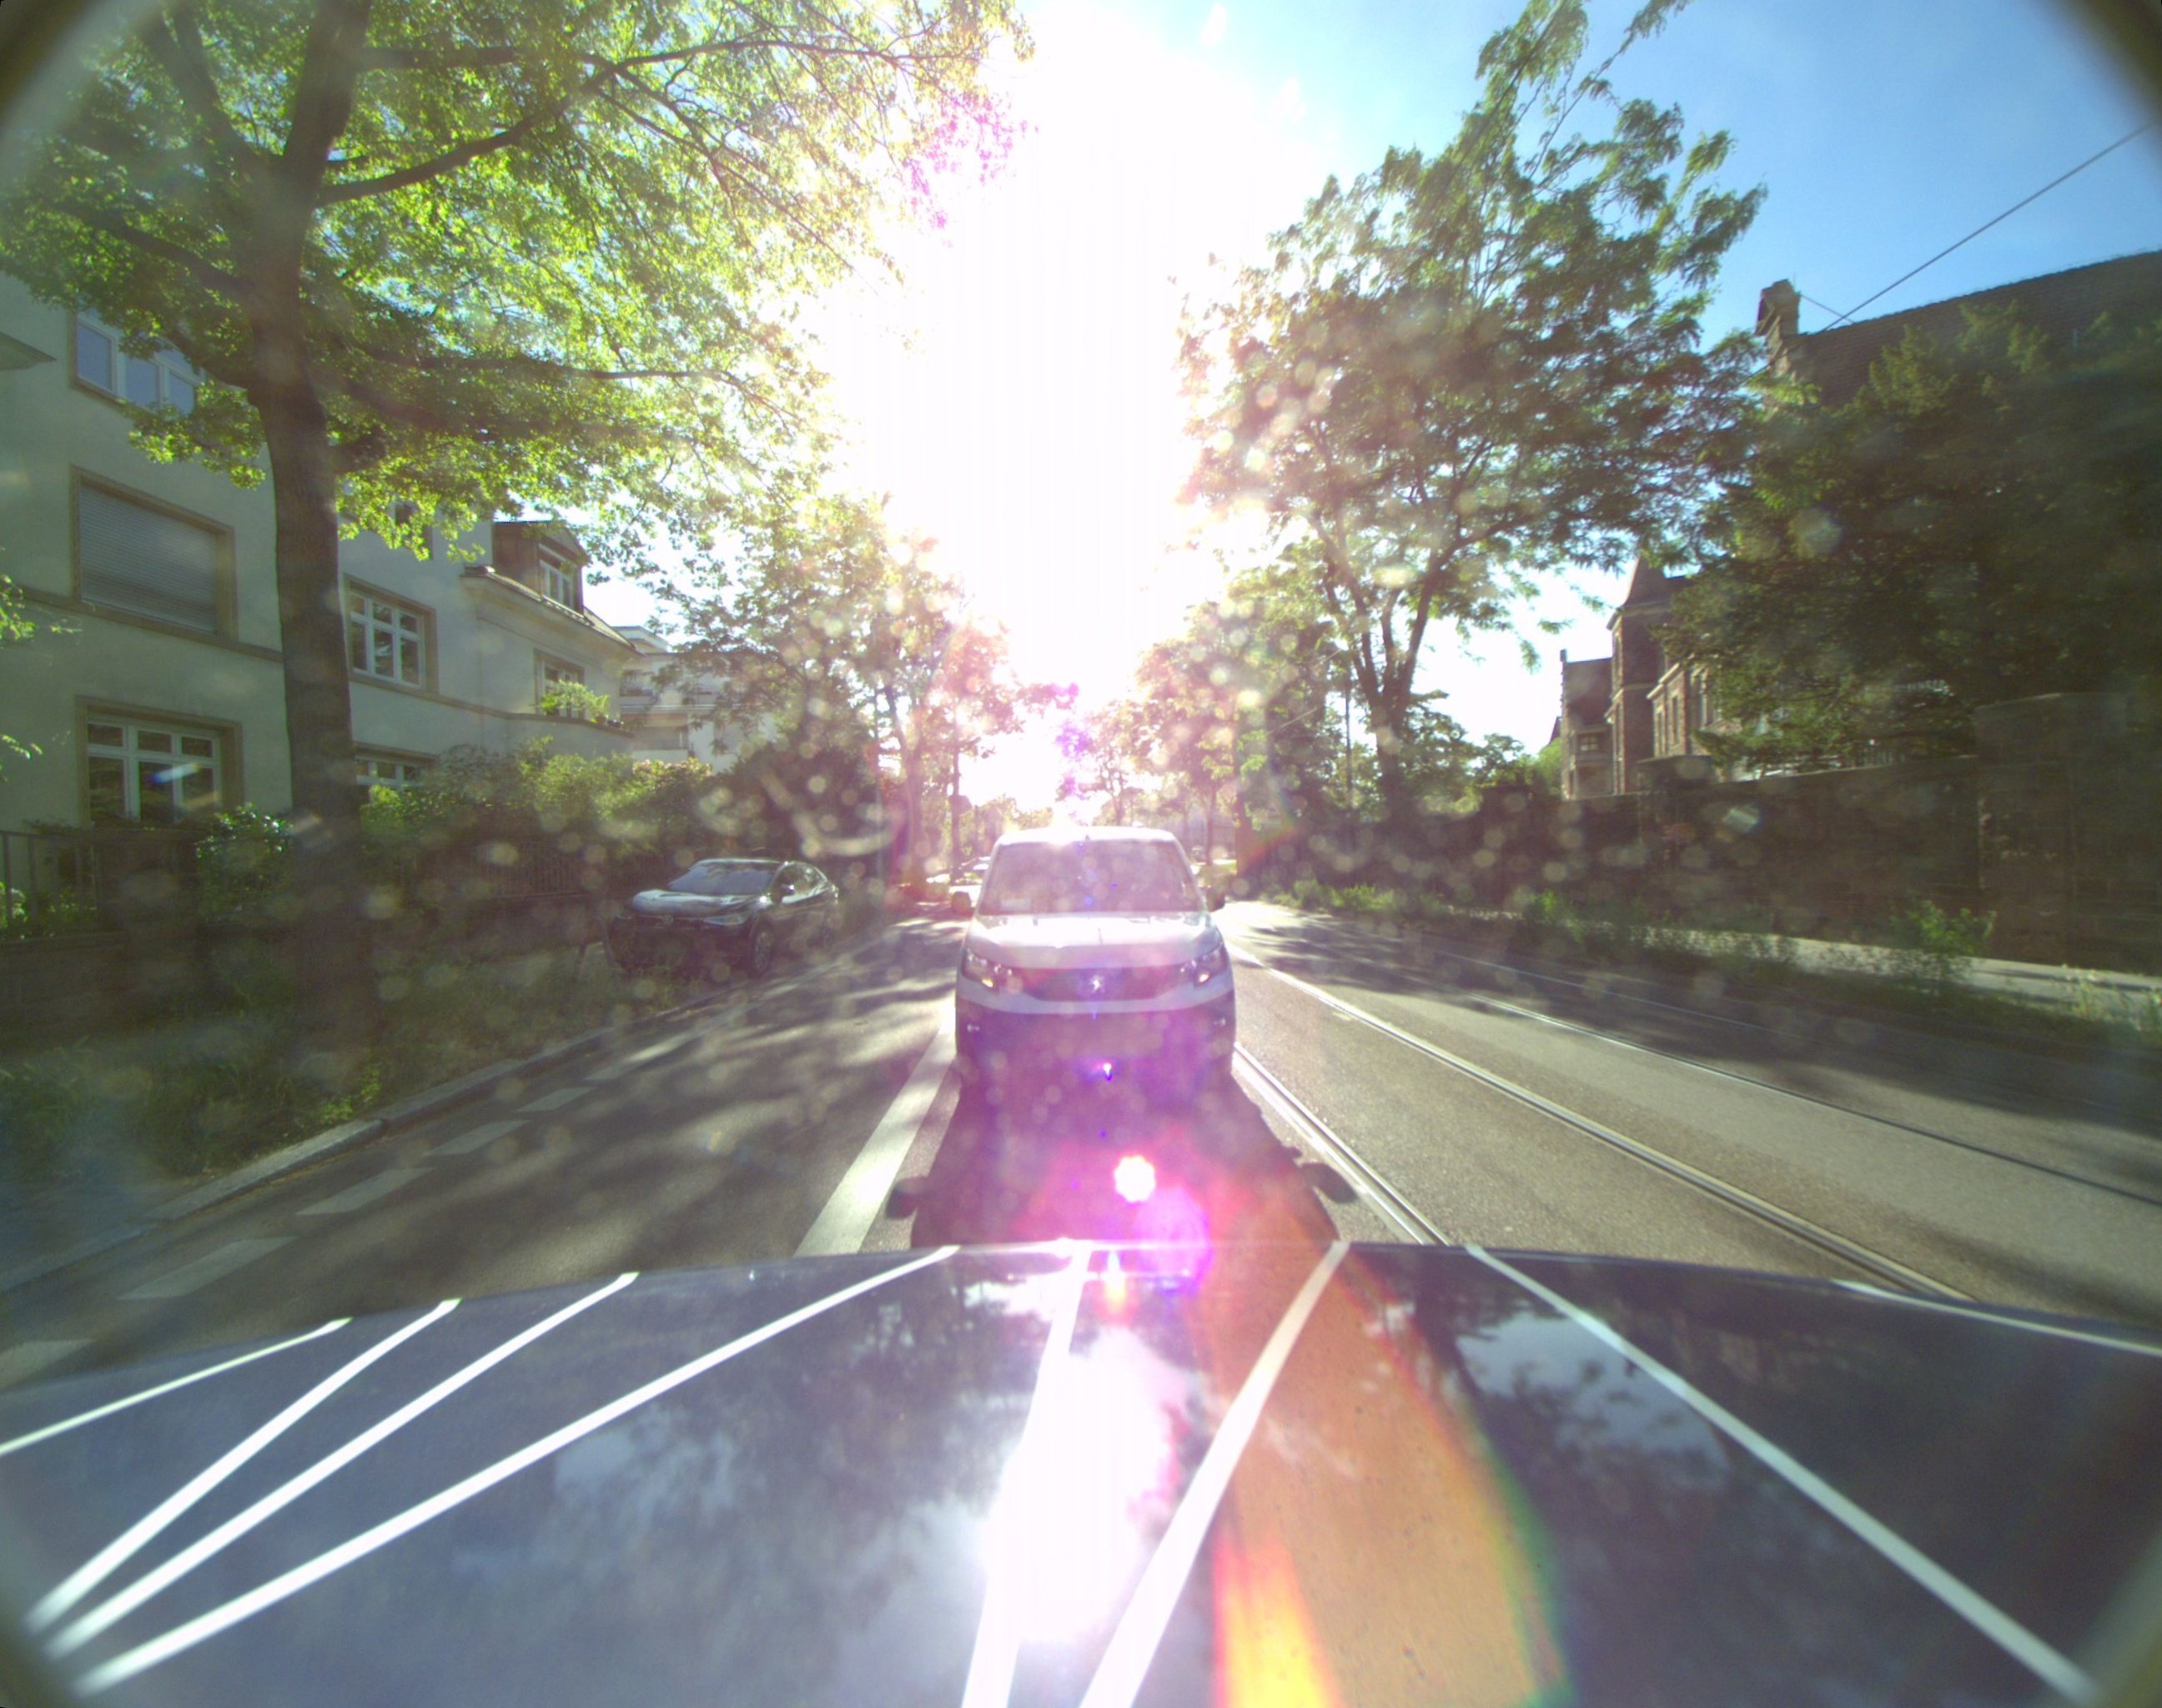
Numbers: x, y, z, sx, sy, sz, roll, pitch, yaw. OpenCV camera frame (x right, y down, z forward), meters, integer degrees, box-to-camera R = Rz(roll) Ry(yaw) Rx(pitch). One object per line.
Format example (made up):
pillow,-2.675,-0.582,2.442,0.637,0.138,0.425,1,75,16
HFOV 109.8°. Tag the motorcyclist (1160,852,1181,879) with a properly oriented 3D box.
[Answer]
motorcyclist,4.574,0.572,38.911,0.891,1.375,0.908,-2,1,-3

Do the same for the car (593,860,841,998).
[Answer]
car,-5.161,0.948,11.457,1.743,1.597,4.091,2,0,0

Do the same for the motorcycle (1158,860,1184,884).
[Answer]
motorcycle,4.585,0.906,38.898,0.914,1.146,2.428,-2,0,-3

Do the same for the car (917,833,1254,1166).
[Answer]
car,0.044,0.788,6.533,1.793,1.770,4.786,-2,0,0

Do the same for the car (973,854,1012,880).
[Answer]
car,-5.255,0.757,45.461,1.787,1.443,4.000,-2,0,1

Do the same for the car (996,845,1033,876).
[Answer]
car,-4.504,0.435,51.926,1.998,2.002,4.583,-2,0,1
